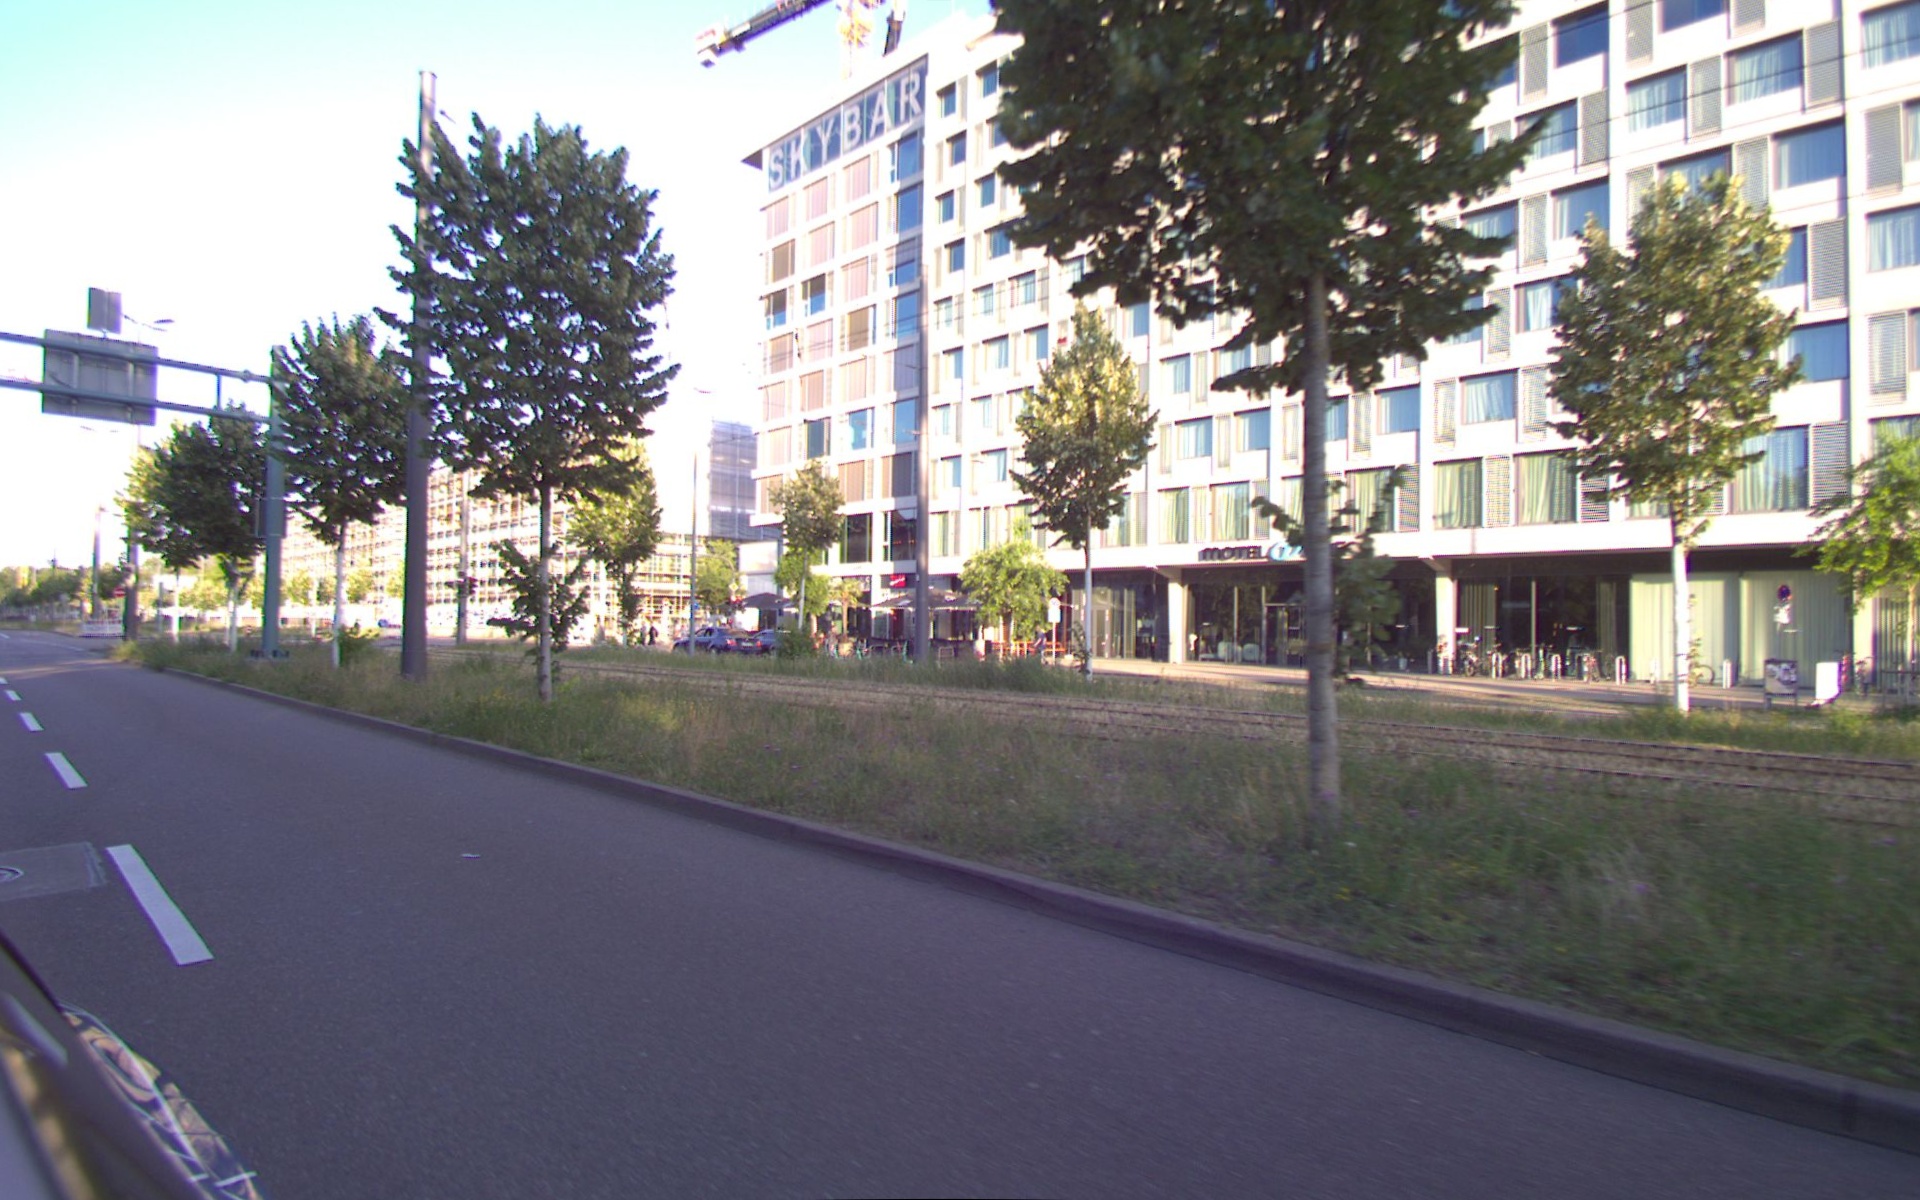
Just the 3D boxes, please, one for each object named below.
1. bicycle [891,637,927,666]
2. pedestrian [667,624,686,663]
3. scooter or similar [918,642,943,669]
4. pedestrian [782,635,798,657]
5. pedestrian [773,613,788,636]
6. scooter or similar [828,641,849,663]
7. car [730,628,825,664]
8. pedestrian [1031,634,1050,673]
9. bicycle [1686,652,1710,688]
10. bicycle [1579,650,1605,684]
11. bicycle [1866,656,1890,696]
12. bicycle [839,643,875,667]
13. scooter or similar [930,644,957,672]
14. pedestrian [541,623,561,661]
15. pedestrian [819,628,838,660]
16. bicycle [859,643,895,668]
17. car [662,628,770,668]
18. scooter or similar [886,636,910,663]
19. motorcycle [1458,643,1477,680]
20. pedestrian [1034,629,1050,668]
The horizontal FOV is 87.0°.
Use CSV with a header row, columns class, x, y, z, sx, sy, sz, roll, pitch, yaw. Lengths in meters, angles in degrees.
class,x,y,z,sx,sy,sz,roll,pitch,yaw
bicycle,-2.259,2.271,44.968,0.443,1.208,1.889,-1,-1,41
pedestrian,-14.605,2.230,52.151,0.671,1.938,0.709,-1,-1,-44
scooter or similar,-1.279,2.401,43.983,1.168,1.172,0.338,3,-3,-45
pedestrian,-10.815,2.926,64.429,0.769,1.425,0.600,0,-3,29
pedestrian,-11.493,1.548,64.790,0.773,1.473,0.597,-1,-3,45
scooter or similar,-5.781,2.485,48.289,0.291,1.041,0.995,1,-1,45
car,-7.810,1.943,43.198,4.225,1.451,1.864,-1,-3,44
pedestrian,3.388,2.244,42.663,0.491,1.612,0.604,-1,-1,-44
bicycle,22.012,2.081,30.188,0.421,1.028,1.769,-1,-3,41
bicycle,20.005,2.118,32.023,0.421,1.028,1.724,-1,-3,41
bicycle,24.600,2.021,27.123,0.421,1.028,1.769,-1,-3,41
bicycle,-4.801,2.556,47.134,0.443,1.067,1.889,-1,-1,41
scooter or similar,-0.694,2.449,42.902,0.338,1.066,1.168,-4,0,45
pedestrian,-20.461,2.100,50.624,0.763,1.850,0.698,-1,-1,43
pedestrian,-6.929,2.307,53.208,0.706,1.616,0.674,-1,0,31
bicycle,-3.785,2.542,46.235,0.443,1.067,1.889,-1,-1,41
car,-9.985,1.932,41.228,4.803,1.452,1.992,-1,-5,45
scooter or similar,-2.787,2.224,45.583,1.168,1.227,0.338,3,-3,-45
motorcycle,17.502,2.108,34.872,0.514,1.180,1.879,0,-1,29
pedestrian,3.517,2.064,43.327,0.423,1.669,0.516,0,-1,-44
